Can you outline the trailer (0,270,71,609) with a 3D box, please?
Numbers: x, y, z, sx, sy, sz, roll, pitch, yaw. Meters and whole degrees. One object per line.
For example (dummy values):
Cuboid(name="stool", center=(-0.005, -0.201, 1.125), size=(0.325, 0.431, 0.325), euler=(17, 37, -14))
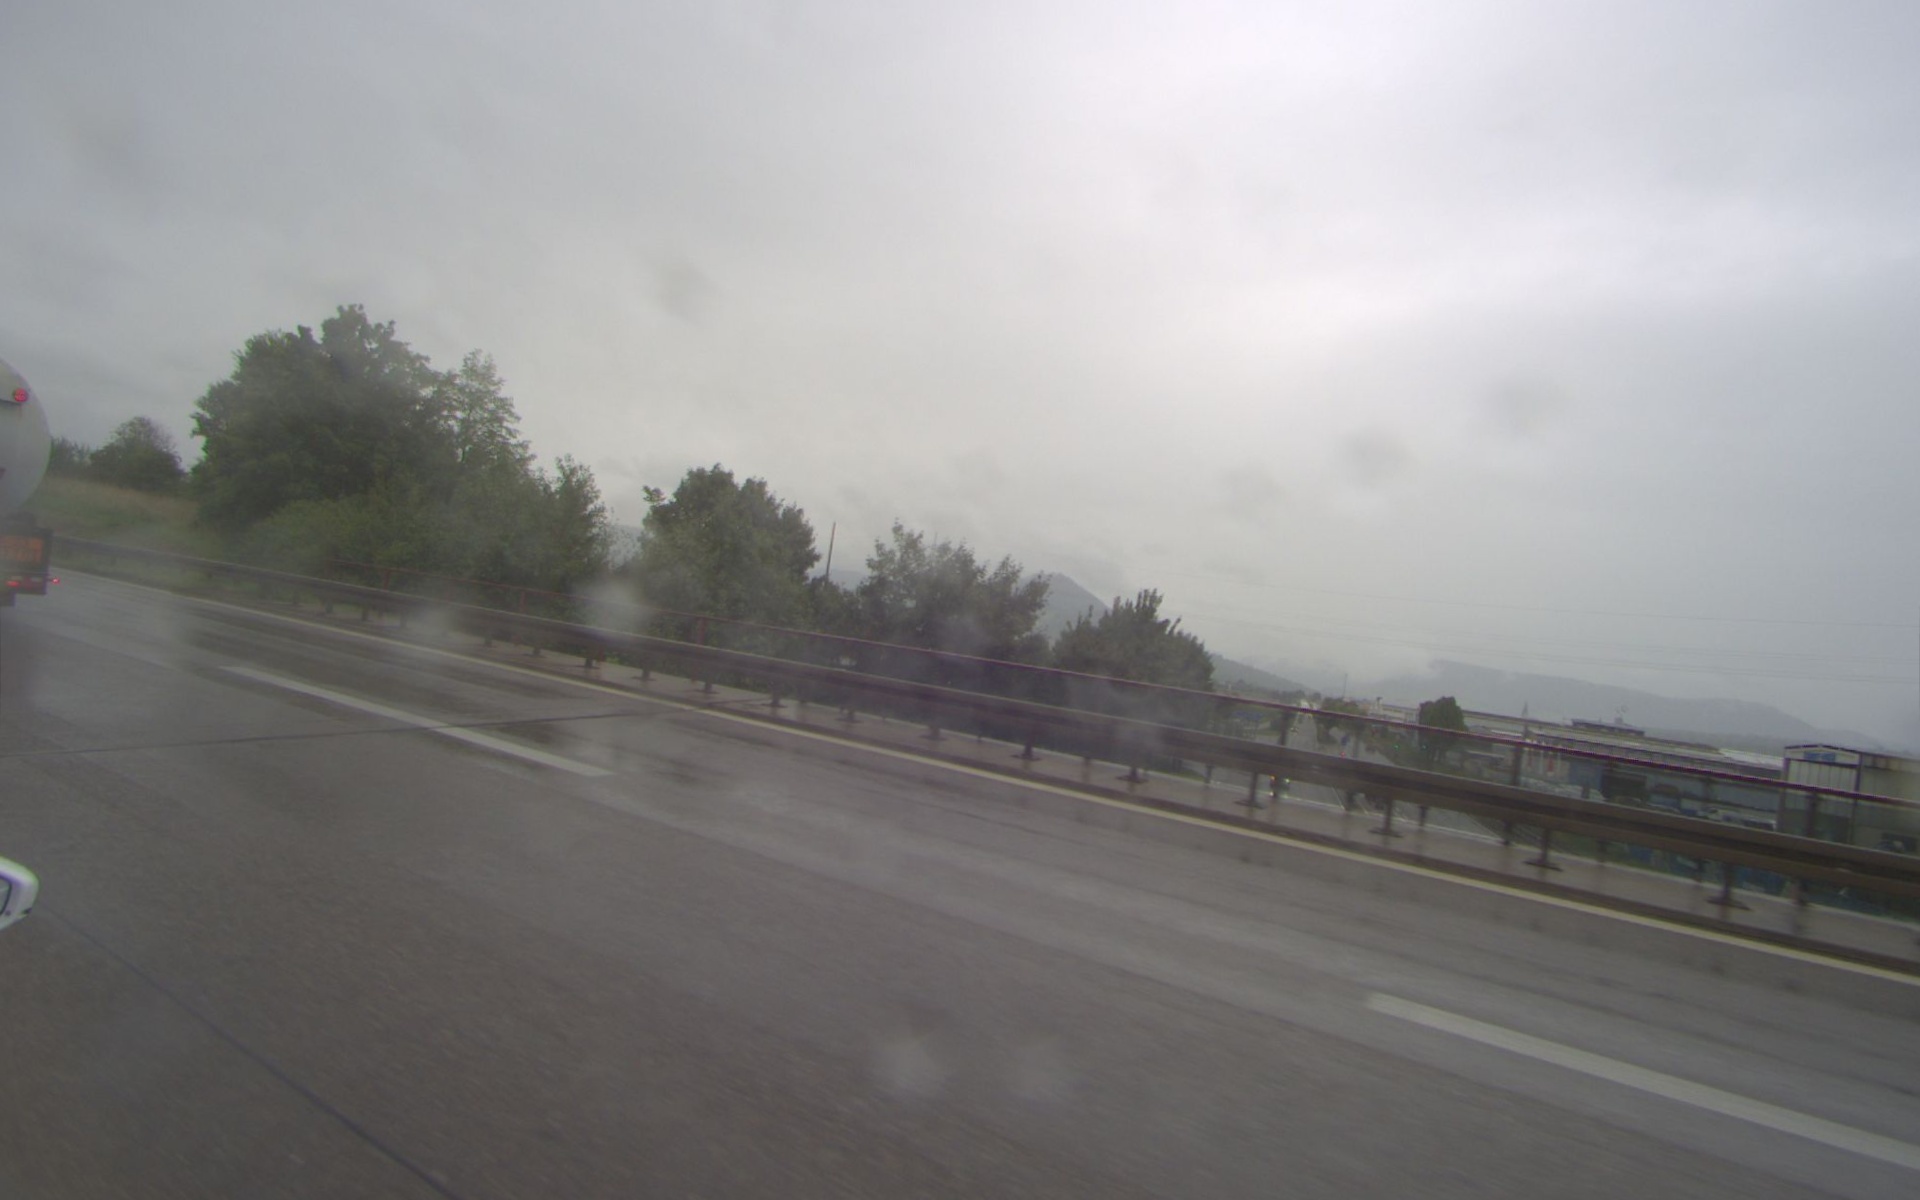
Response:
Cuboid(name="trailer", center=(-15.337, -2.395, 13.296), size=(8.484, 3.893, 3.008), euler=(7, -1, 34))
